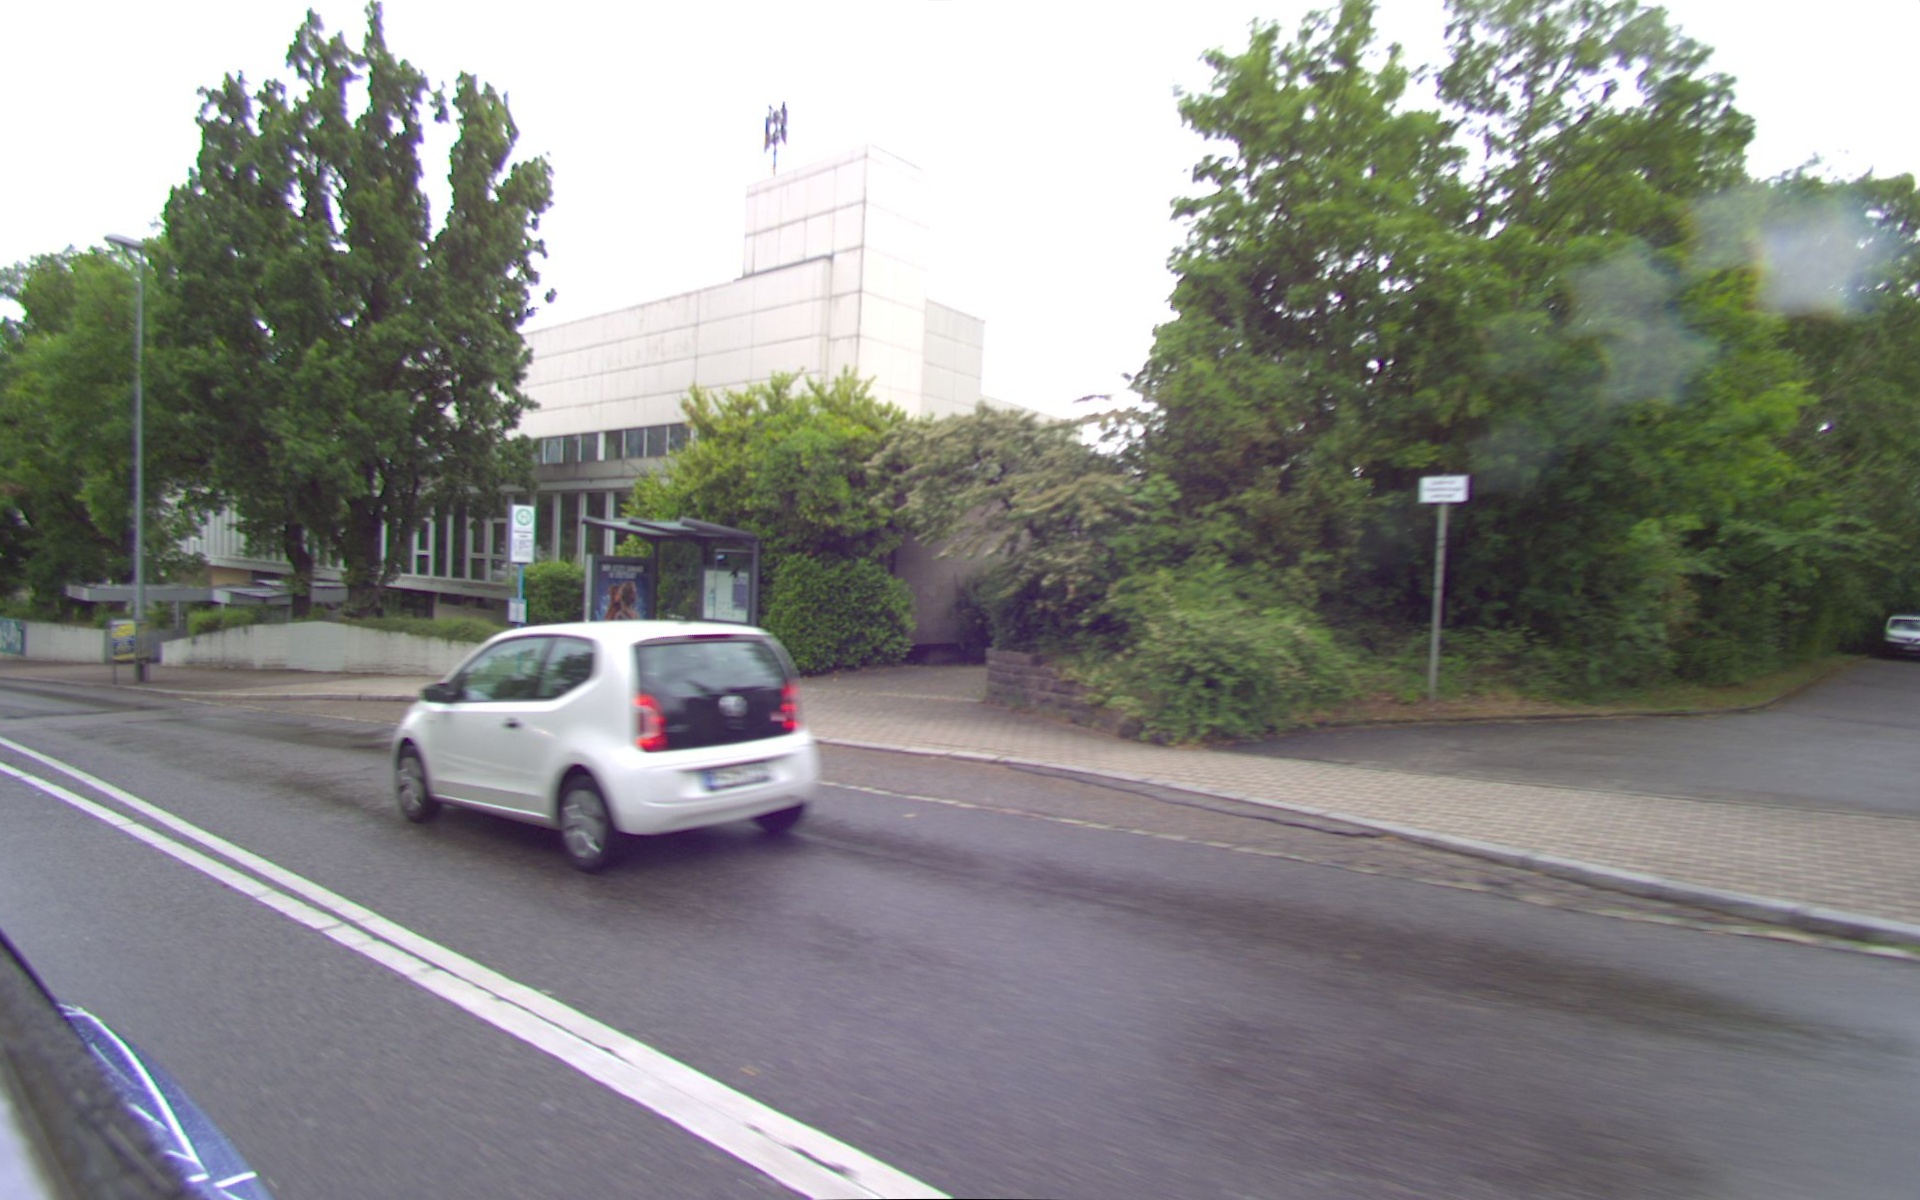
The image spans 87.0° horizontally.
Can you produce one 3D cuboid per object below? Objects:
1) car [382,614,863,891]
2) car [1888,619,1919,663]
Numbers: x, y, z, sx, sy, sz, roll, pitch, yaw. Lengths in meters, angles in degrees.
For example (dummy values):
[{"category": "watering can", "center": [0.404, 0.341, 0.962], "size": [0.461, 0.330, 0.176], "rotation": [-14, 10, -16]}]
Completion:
[{"category": "car", "center": [-2.475, 0.845, 7.108], "size": [3.394, 1.465, 1.668], "rotation": [-1, -1, 39]}, {"category": "car", "center": [37.632, 1.592, 39.767], "size": [1.632, 1.616, 3.765], "rotation": [1, 0, 44]}]
